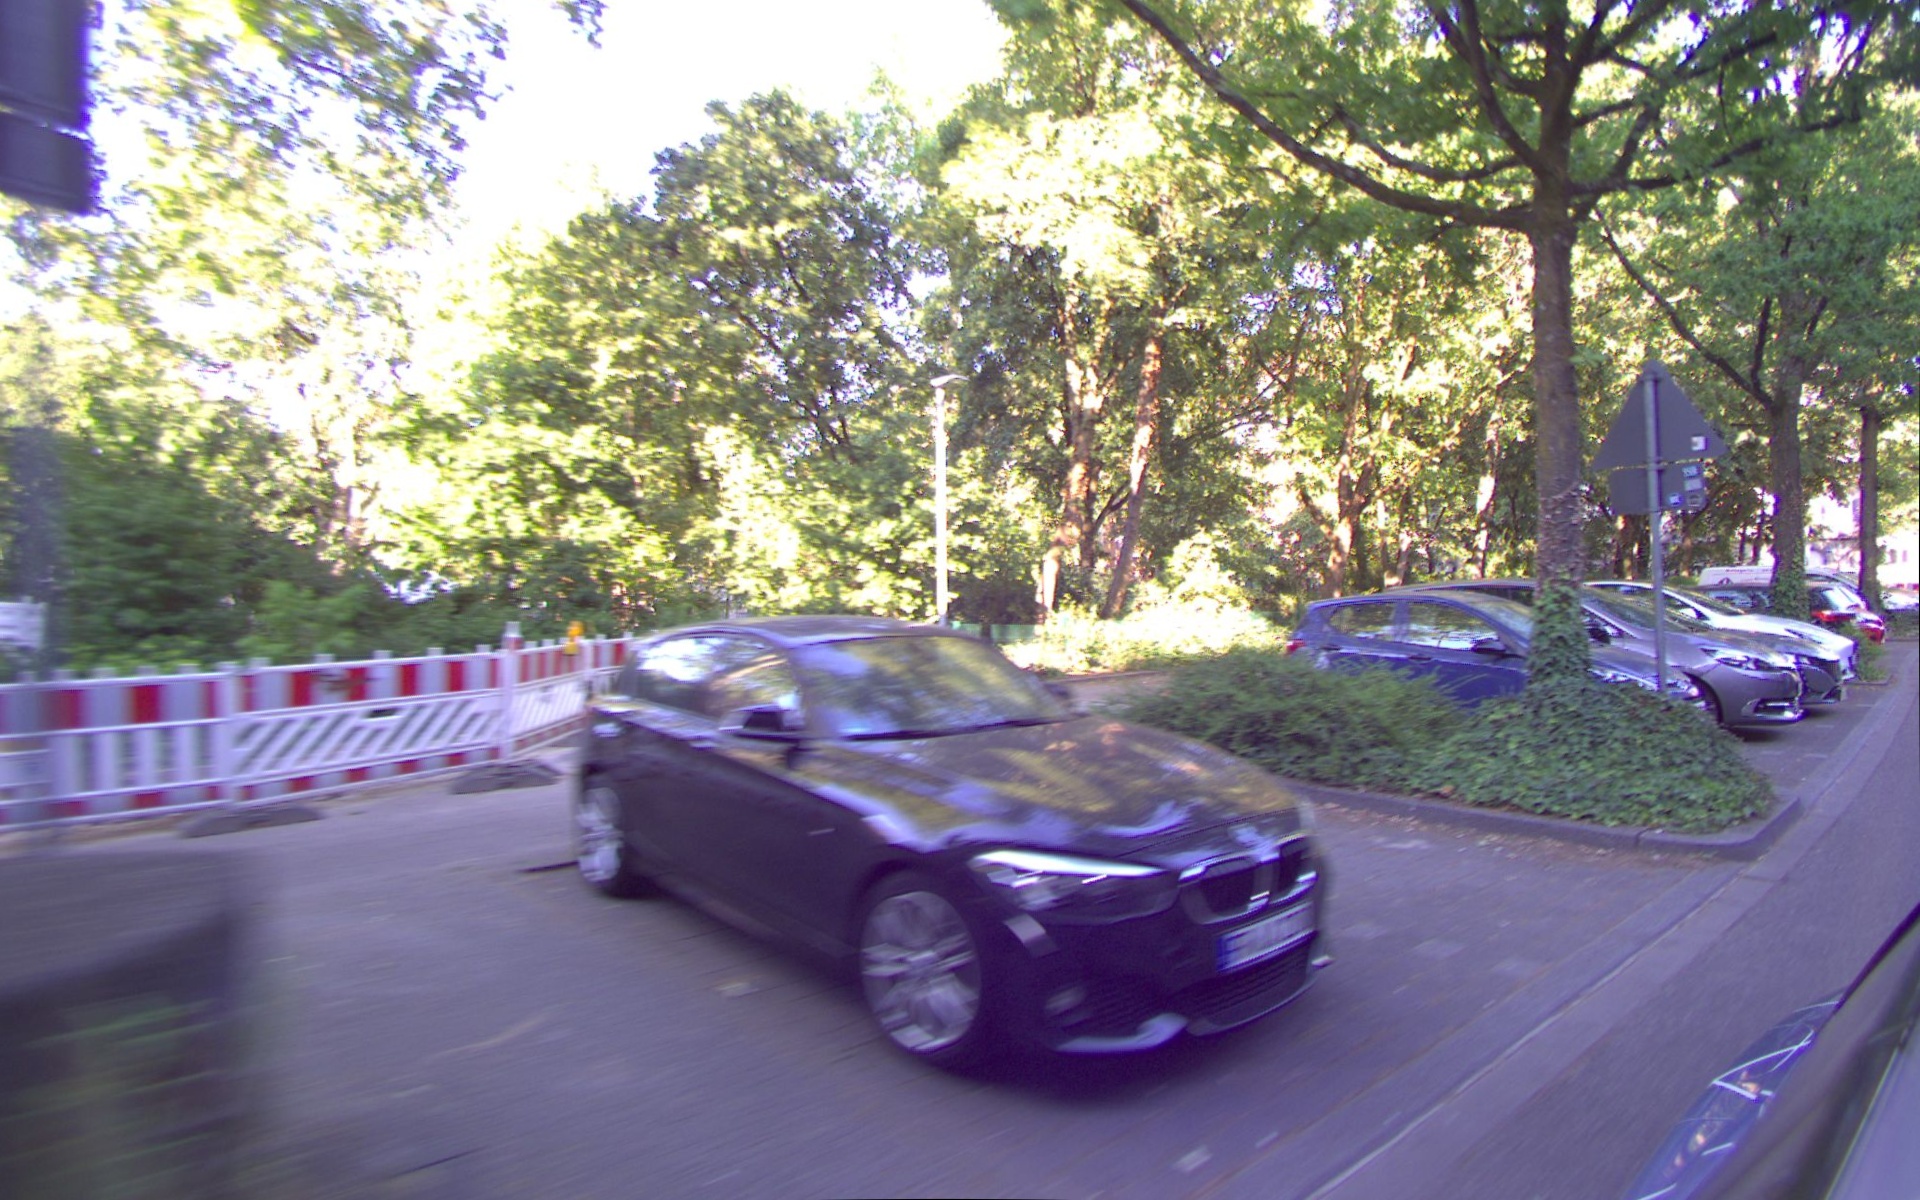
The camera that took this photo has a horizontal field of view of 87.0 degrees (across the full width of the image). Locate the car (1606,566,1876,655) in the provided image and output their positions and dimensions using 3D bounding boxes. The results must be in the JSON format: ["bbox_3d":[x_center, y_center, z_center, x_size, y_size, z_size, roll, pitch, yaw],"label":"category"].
[{"bbox_3d":[15.486,0.255,20.232,1.560,1.594,3.991,-2,-1,-42],"label":"car"}]

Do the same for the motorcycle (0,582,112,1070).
[{"bbox_3d":[-3.441,0.632,2.832,1.915,1.253,0.897,-3,-1,25],"label":"motorcycle"}]

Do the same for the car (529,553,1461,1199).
[{"bbox_3d":[-0.342,0.750,4.641,1.646,1.597,4.378,-2,-1,-42],"label":"car"}]

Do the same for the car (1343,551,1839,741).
[{"bbox_3d":[6.907,0.485,11.440,1.876,1.730,4.375,-2,-1,-44],"label":"car"}]

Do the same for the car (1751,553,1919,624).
[{"bbox_3d":[24.812,-0.310,28.175,1.766,1.780,3.997,-2,-1,-36],"label":"car"}]

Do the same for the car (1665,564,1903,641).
[{"bbox_3d":[19.137,0.097,23.658,1.636,1.594,3.995,-2,-1,-38],"label":"car"}]

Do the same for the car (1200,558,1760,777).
[{"bbox_3d":[4.751,0.525,9.970,1.703,1.626,4.598,-2,0,-37],"label":"car"}]

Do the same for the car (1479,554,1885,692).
[{"bbox_3d":[10.459,0.356,14.958,1.875,1.717,4.537,-2,-1,-42],"label":"car"}]

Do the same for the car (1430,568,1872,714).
[{"bbox_3d":[8.727,0.511,13.111,1.844,1.552,4.378,-2,-1,-42],"label":"car"}]

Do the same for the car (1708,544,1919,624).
[{"bbox_3d":[22.771,-0.458,26.642,1.841,1.948,4.678,-2,2,-42],"label":"car"}]

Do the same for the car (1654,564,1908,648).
[{"bbox_3d":[17.506,0.164,21.738,1.560,1.594,3.991,-2,-1,-42],"label":"car"}]

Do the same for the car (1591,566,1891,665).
[{"bbox_3d":[13.995,0.315,18.327,1.560,1.594,4.025,-2,-1,-42],"label":"car"}]
